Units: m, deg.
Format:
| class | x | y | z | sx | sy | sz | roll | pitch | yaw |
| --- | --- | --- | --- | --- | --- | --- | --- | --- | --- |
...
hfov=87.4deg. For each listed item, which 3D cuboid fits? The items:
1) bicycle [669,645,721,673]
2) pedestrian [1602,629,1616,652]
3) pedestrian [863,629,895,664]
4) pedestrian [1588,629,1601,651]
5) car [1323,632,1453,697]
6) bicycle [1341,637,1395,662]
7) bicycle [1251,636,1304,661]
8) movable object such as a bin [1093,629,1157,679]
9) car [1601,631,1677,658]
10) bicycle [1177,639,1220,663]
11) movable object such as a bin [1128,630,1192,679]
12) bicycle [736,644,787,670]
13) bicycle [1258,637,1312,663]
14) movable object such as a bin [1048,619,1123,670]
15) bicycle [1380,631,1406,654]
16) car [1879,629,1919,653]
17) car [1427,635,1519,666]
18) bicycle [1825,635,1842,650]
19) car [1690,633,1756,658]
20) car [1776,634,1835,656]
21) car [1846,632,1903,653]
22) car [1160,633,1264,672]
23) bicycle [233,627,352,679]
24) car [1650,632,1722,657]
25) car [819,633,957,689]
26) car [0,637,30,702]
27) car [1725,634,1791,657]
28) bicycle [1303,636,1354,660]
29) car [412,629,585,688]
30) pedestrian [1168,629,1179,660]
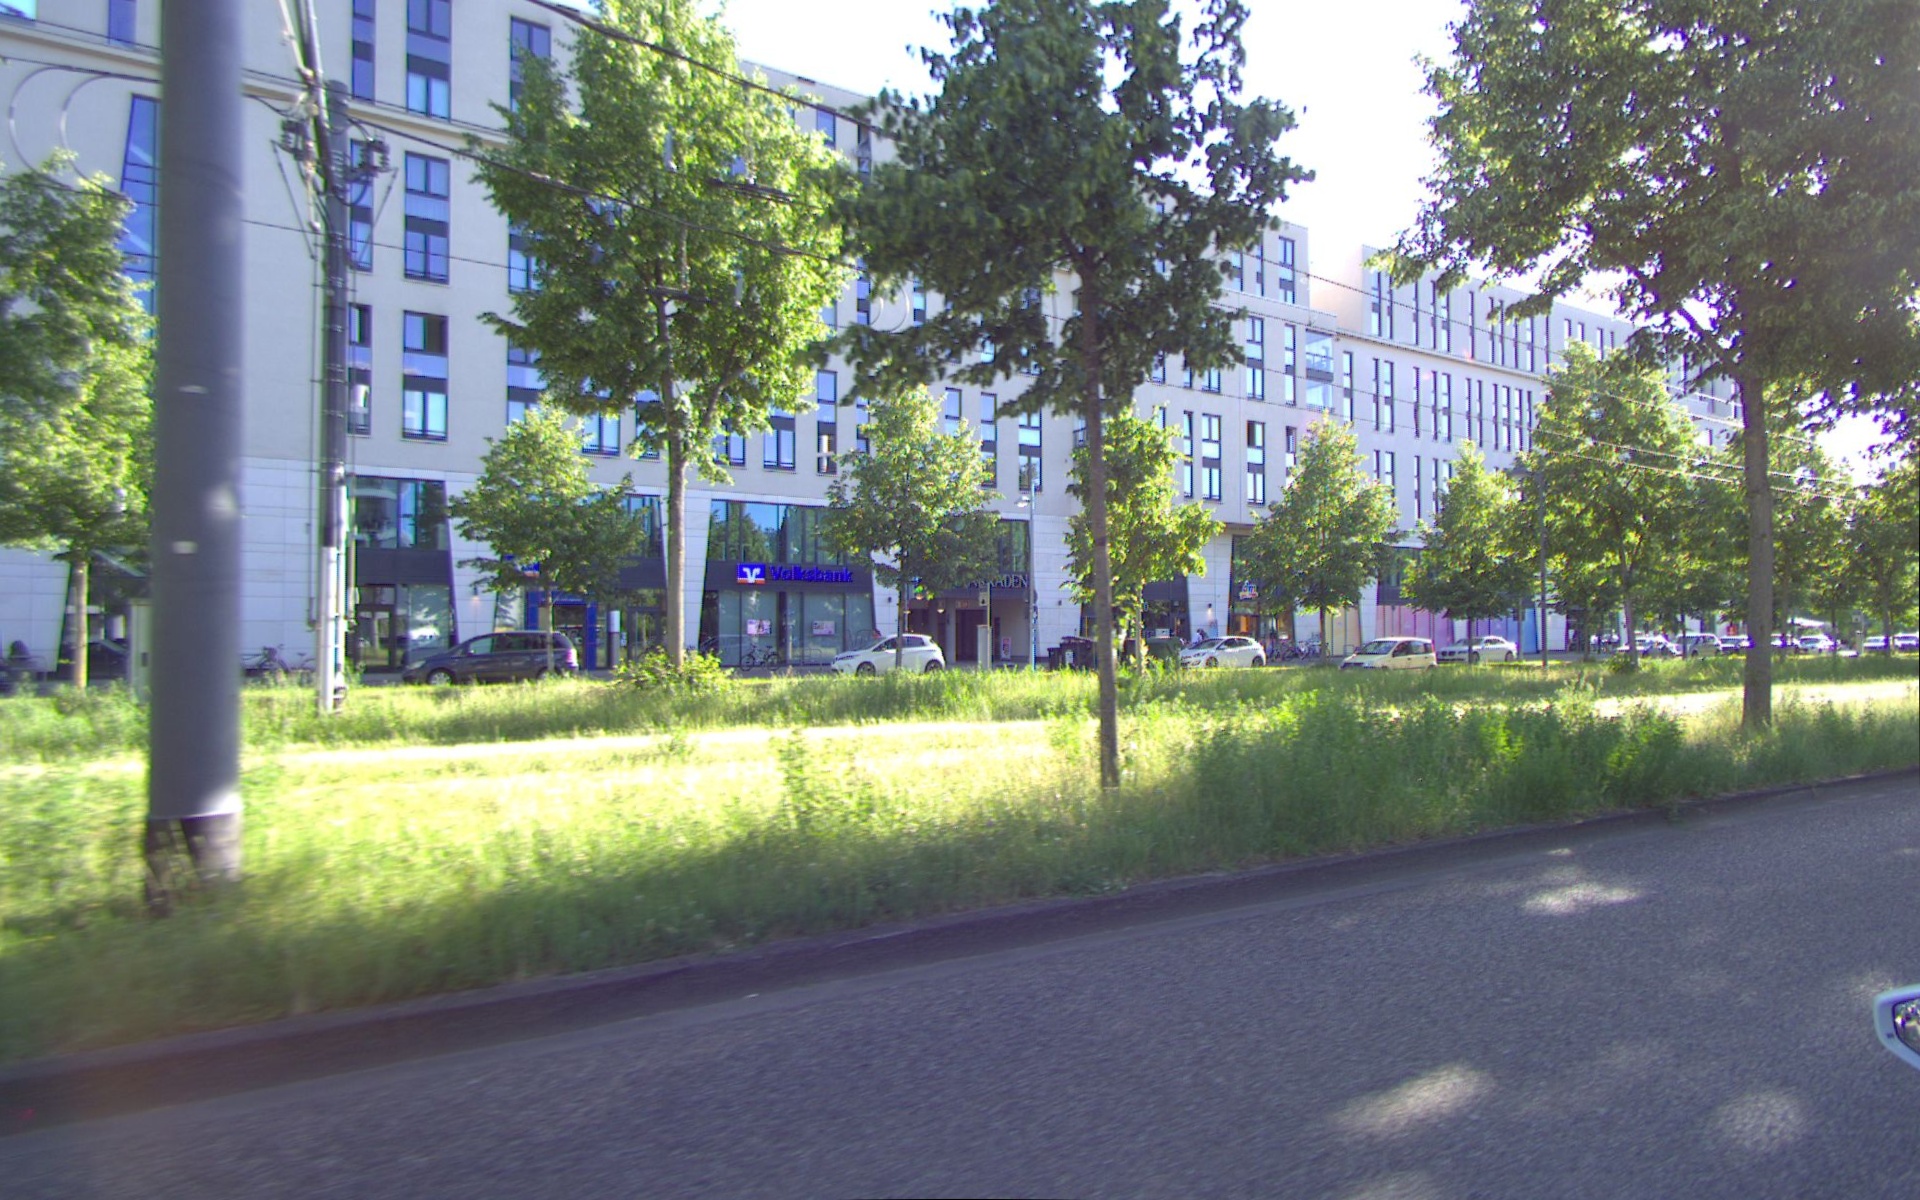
| class | x | y | z | sx | sy | sz | roll | pitch | yaw |
| --- | --- | --- | --- | --- | --- | --- | --- | --- | --- |
| bicycle | -10.018 | 2.232 | 38.030 | 1.823 | 1.001 | 0.616 | 2 | 0 | -25 |
| pedestrian | 48.303 | 3.014 | 74.781 | 0.712 | 1.673 | 0.632 | 1 | 0 | -32 |
| pedestrian | -3.532 | 2.023 | 43.794 | 1.018 | 1.487 | 0.939 | 2 | 0 | -39 |
| pedestrian | 47.536 | 3.001 | 75.266 | 0.713 | 1.673 | 0.631 | 1 | 0 | -37 |
| car | 14.553 | 2.157 | 34.148 | 3.949 | 2.040 | 1.986 | 2 | 0 | -27 |
| bicycle | 23.339 | 2.800 | 57.493 | 2.723 | 1.298 | 0.948 | 1 | 0 | 32 |
| bicycle | 17.162 | 2.646 | 54.272 | 2.732 | 1.298 | 0.945 | 2 | 0 | -23 |
| movable object such as a bin | 6.396 | 2.081 | 38.936 | 1.538 | 1.818 | 1.960 | 1 | 0 | -31 |
| car | 40.019 | 2.620 | 59.187 | 4.727 | 1.460 | 1.982 | 2 | -1 | -32 |
| bicycle | 12.094 | 2.567 | 50.858 | 2.357 | 1.152 | 0.859 | 2 | -1 | -40 |
| movable object such as a bin | 7.917 | 2.126 | 39.864 | 1.538 | 1.818 | 1.960 | 1 | 0 | -31 |
| bicycle | -7.736 | 2.205 | 39.182 | 1.825 | 0.966 | 0.577 | 2 | 0 | -28 |
| bicycle | 17.181 | 2.634 | 53.065 | 2.732 | 1.298 | 0.945 | 2 | 0 | -23 |
| movable object such as a bin | 4.711 | 1.653 | 37.802 | 1.988 | 1.818 | 1.959 | 2 | 0 | -32 |
| bicycle | 25.295 | 2.462 | 58.635 | 1.590 | 1.298 | 0.595 | 2 | 0 | -32 |
| car | 74.866 | 3.262 | 79.523 | 4.724 | 1.795 | 1.983 | 2 | -1 | -32 |
| car | 26.105 | 2.539 | 51.108 | 4.871 | 1.460 | 1.982 | 2 | -1 | -32 |
| bicycle | 77.849 | 3.793 | 89.517 | 1.818 | 1.269 | 0.585 | 2 | 0 | -30 |
| car | 48.989 | 2.923 | 64.481 | 4.407 | 1.460 | 1.982 | 2 | -1 | -32 |
| car | 59.590 | 3.182 | 70.786 | 4.407 | 1.460 | 1.982 | 2 | -1 | -32 |
| car | 69.227 | 3.210 | 76.037 | 4.214 | 1.460 | 1.949 | 2 | -1 | -30 |
| car | 10.443 | 2.163 | 41.624 | 3.975 | 1.460 | 1.982 | 2 | -1 | -32 |
| bicycle | -20.755 | 1.653 | 31.311 | 2.996 | 1.566 | 0.615 | 2 | 0 | -28 |
| car | 44.536 | 2.725 | 61.634 | 4.404 | 1.460 | 1.984 | 2 | -1 | -30 |
| car | -2.442 | 2.040 | 34.364 | 4.291 | 1.752 | 1.982 | 2 | -1 | -32 |
| car | -23.346 | 1.531 | 21.854 | 4.291 | 1.432 | 1.713 | 1 | -2 | -33 |
| car | 53.779 | 3.066 | 67.666 | 4.882 | 1.460 | 1.982 | 2 | -1 | -32 |
| bicycle | 20.352 | 2.657 | 55.535 | 2.732 | 1.298 | 0.945 | 2 | 0 | -23 |
| car | -12.723 | 1.576 | 27.781 | 4.221 | 1.499 | 1.551 | 1 | -1 | -30 |
| pedestrian | 11.144 | 2.327 | 52.422 | 0.511 | 1.570 | 0.502 | 1 | 0 | 12 |
